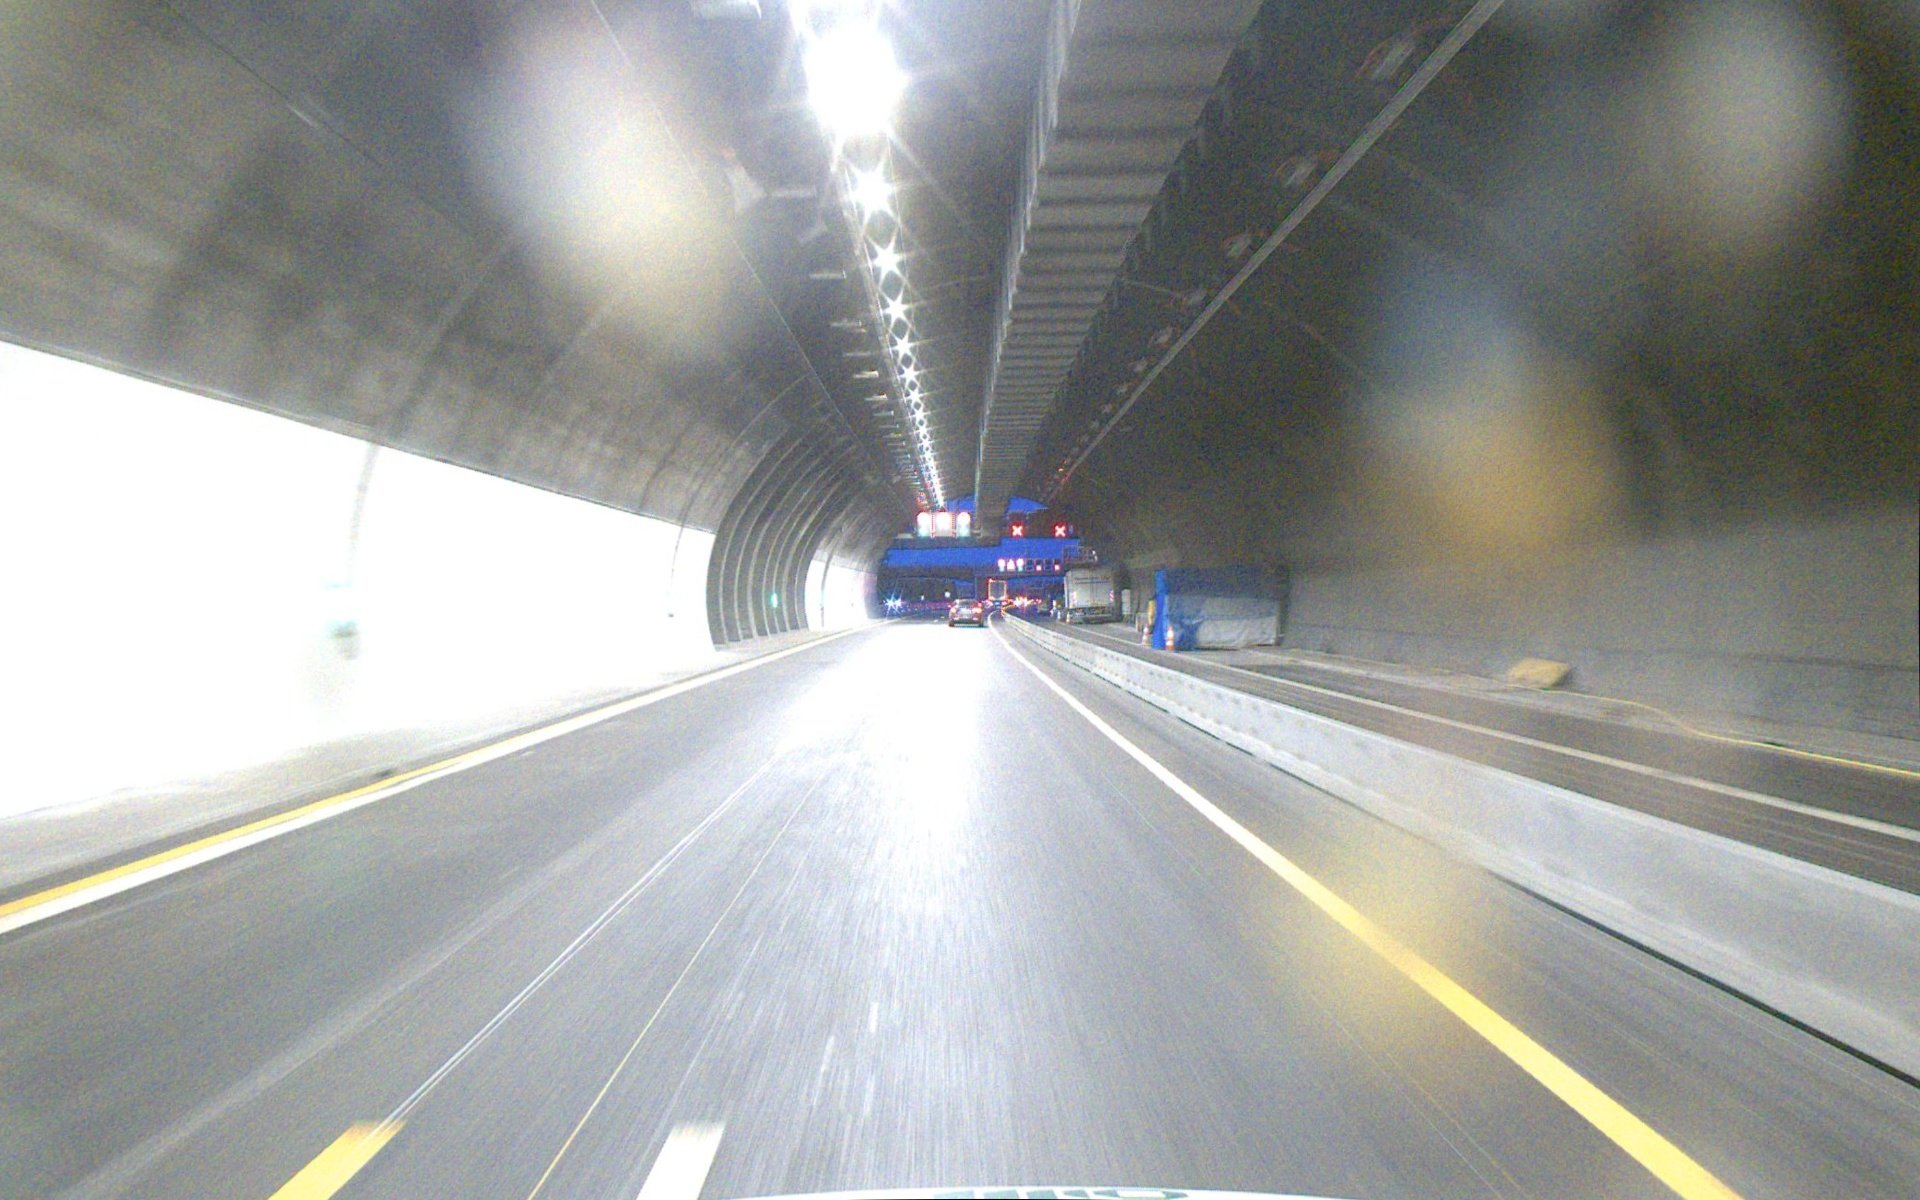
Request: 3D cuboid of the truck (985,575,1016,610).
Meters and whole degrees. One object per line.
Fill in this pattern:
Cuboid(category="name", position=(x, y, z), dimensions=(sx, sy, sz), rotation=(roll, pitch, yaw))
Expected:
Cuboid(category="truck", position=(6.053, -1.147, 247.752), dimensions=(4.452, 5.074, 9.600), rotation=(1, 0, 1))

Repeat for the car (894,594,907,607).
Cuboid(category="car", position=(-9.320, 0.099, 259.179), dimensions=(1.952, 2.049, 4.000), rotation=(1, 0, 0))

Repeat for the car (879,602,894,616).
Cuboid(category="car", position=(-10.743, 1.323, 242.144), dimensions=(1.952, 2.049, 4.000), rotation=(1, 0, 0))

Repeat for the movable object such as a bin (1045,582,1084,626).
Cuboid(category="movable object such as a bin", position=(6.966, 0.289, 110.694), dimensions=(2.192, 2.843, 7.232), rotation=(1, 0, 0))

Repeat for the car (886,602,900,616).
Cuboid(category="car", position=(-10.222, 1.389, 252.238), dimensions=(1.952, 2.049, 4.000), rotation=(1, 0, 0))

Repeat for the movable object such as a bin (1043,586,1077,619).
Cuboid(category="movable object such as a bin", position=(8.869, 0.214, 147.409), dimensions=(2.680, 2.802, 7.050), rotation=(1, 0, 1))

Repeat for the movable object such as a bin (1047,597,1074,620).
Cuboid(category="movable object such as a bin", position=(8.170, 0.701, 134.707), dimensions=(1.938, 1.847, 3.836), rotation=(1, 0, 0))

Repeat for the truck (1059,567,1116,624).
Cuboid(category="truck", position=(7.750, -0.222, 101.510), dimensions=(2.833, 3.329, 8.400), rotation=(1, 0, 0))

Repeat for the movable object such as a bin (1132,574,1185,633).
Cuboid(category="movable object such as a bin", position=(8.650, 0.148, 72.403), dimensions=(1.720, 2.421, 3.999), rotation=(-3, 0, -1))

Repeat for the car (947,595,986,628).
Cuboid(category="car", position=(0.321, 0.608, 87.259), dimensions=(1.850, 1.635, 3.998), rotation=(1, 0, -3))
